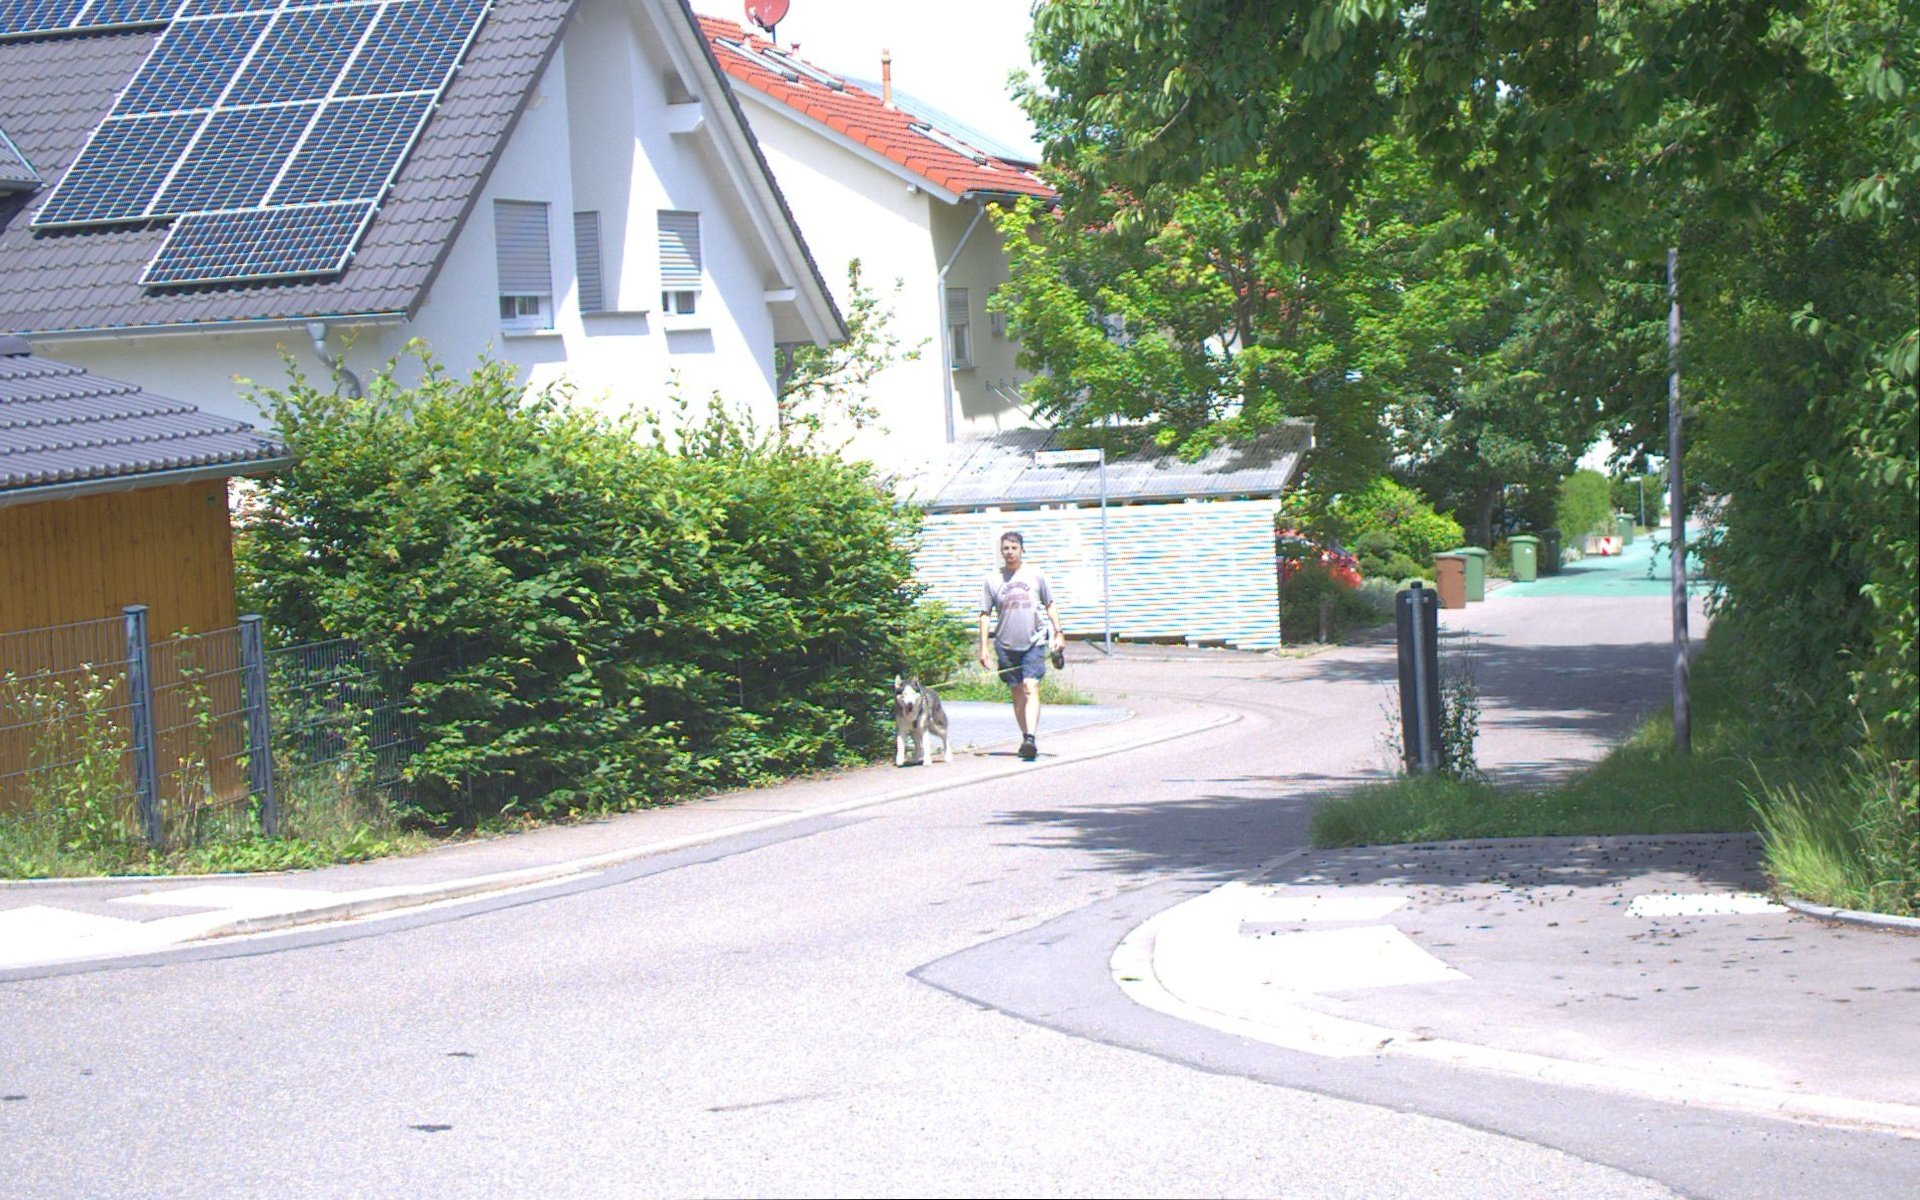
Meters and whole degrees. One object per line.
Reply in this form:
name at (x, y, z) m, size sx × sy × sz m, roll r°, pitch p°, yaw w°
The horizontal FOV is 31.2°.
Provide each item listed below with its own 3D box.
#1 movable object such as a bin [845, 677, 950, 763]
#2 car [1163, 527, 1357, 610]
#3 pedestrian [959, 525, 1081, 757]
movable object such as a bin at (-0.473, 0.913, 26.368) m, size 0.548 × 0.626 × 1.020 m, roll 0°, pitch -1°, yaw 15°
car at (5.344, -0.577, 61.427) m, size 3.416 × 1.415 × 1.586 m, roll 0°, pitch 3°, yaw 4°
pedestrian at (0.479, 0.337, 27.340) m, size 0.846 × 1.814 × 0.834 m, roll -1°, pitch -2°, yaw 9°
